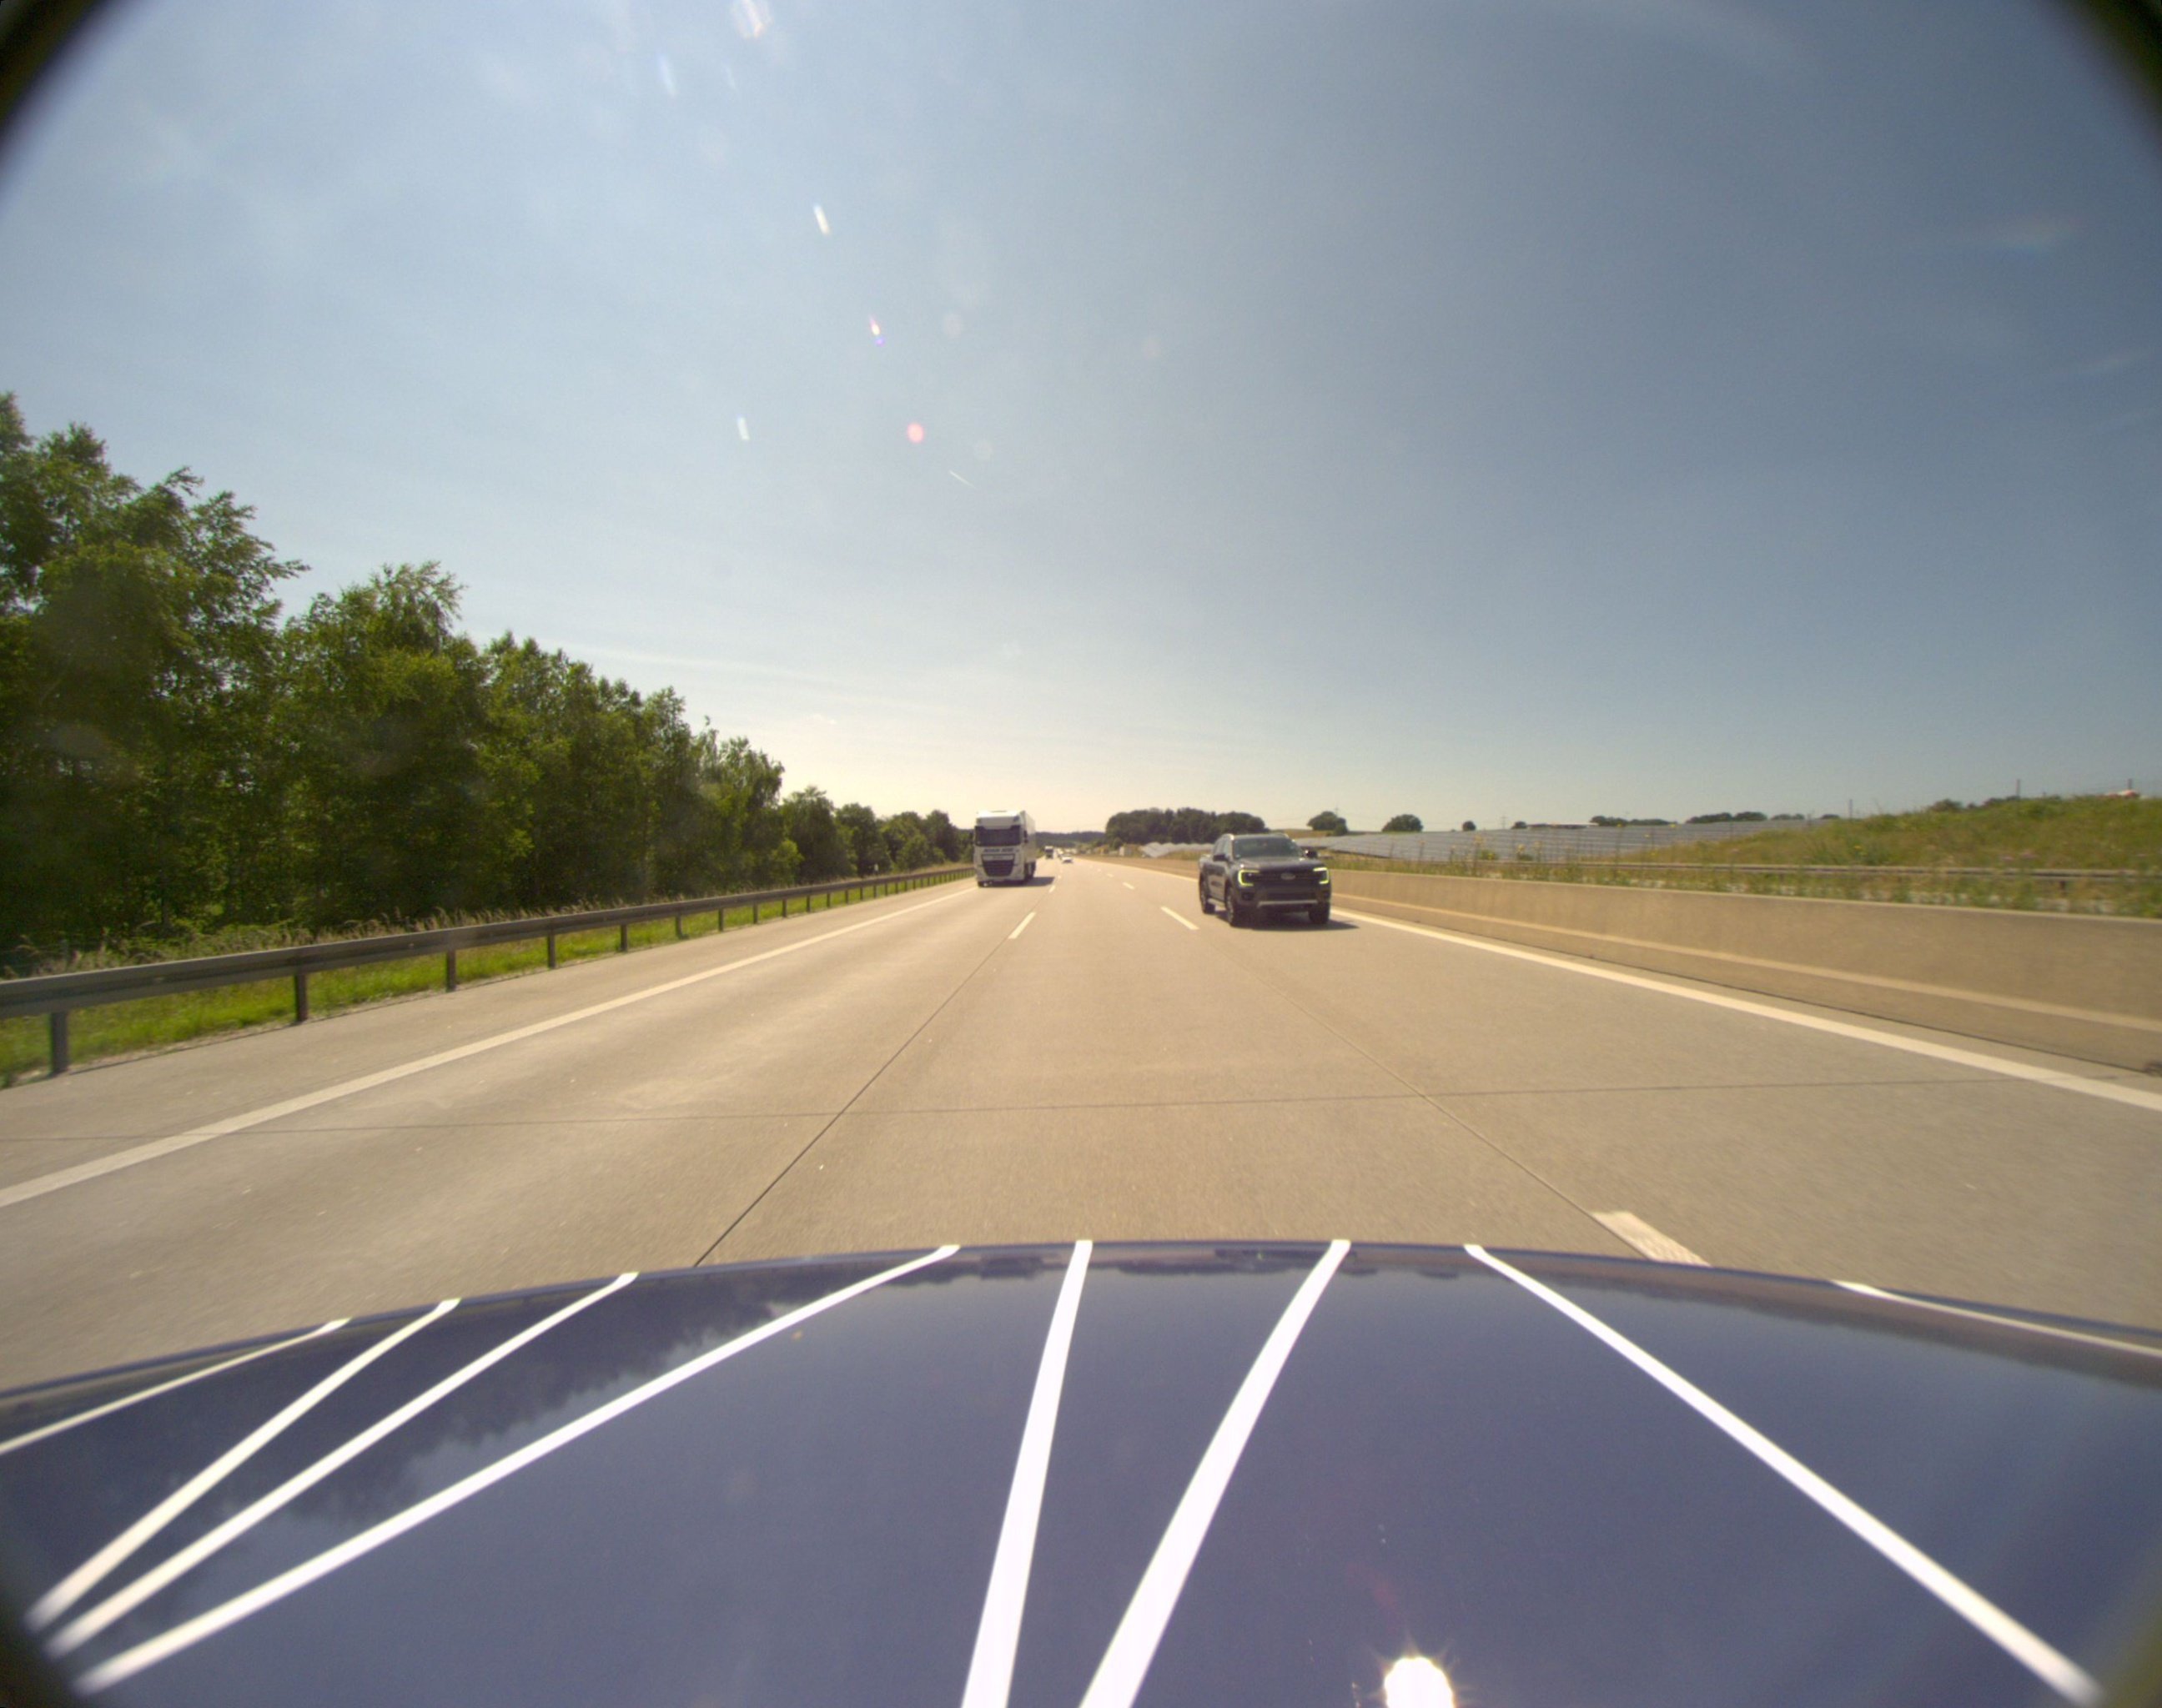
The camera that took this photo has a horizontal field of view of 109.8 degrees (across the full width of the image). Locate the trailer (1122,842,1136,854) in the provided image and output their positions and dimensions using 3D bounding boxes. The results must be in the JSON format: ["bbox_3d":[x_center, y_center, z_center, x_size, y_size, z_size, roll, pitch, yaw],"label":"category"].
[{"bbox_3d":[15.822,-1.975,250.326,3.099,3.981,14.136,-2,1,-2],"label":"trailer"}]

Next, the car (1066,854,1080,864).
[{"bbox_3d":[-1.375,0.856,128.271,2.065,1.472,5.067,-1,0,-2],"label":"car"}]

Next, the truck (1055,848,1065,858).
[{"bbox_3d":[-5.326,-0.173,192.593,2.263,2.461,6.613,-2,0,-2],"label":"truck"}]

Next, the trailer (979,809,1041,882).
[{"bbox_3d":[-4.298,-0.505,48.919,2.860,4.019,12.710,-2,0,-1],"label":"trailer"}]

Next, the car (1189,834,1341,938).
[{"bbox_3d":[3.830,0.551,17.138,1.998,1.836,6.530,-2,1,2],"label":"car"}]

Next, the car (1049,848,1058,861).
[{"bbox_3d":[-9.014,0.133,249.484,2.766,4.029,10.849,-1,0,-2],"label":"car"}]

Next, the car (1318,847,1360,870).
[{"bbox_3d":[17.109,0.291,50.573,1.588,1.444,3.764,-1,0,1],"label":"car"}]

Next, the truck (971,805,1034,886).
[{"bbox_3d":[-4.181,-0.465,41.648,2.819,4.064,5.797,-2,1,-1],"label":"truck"}]
